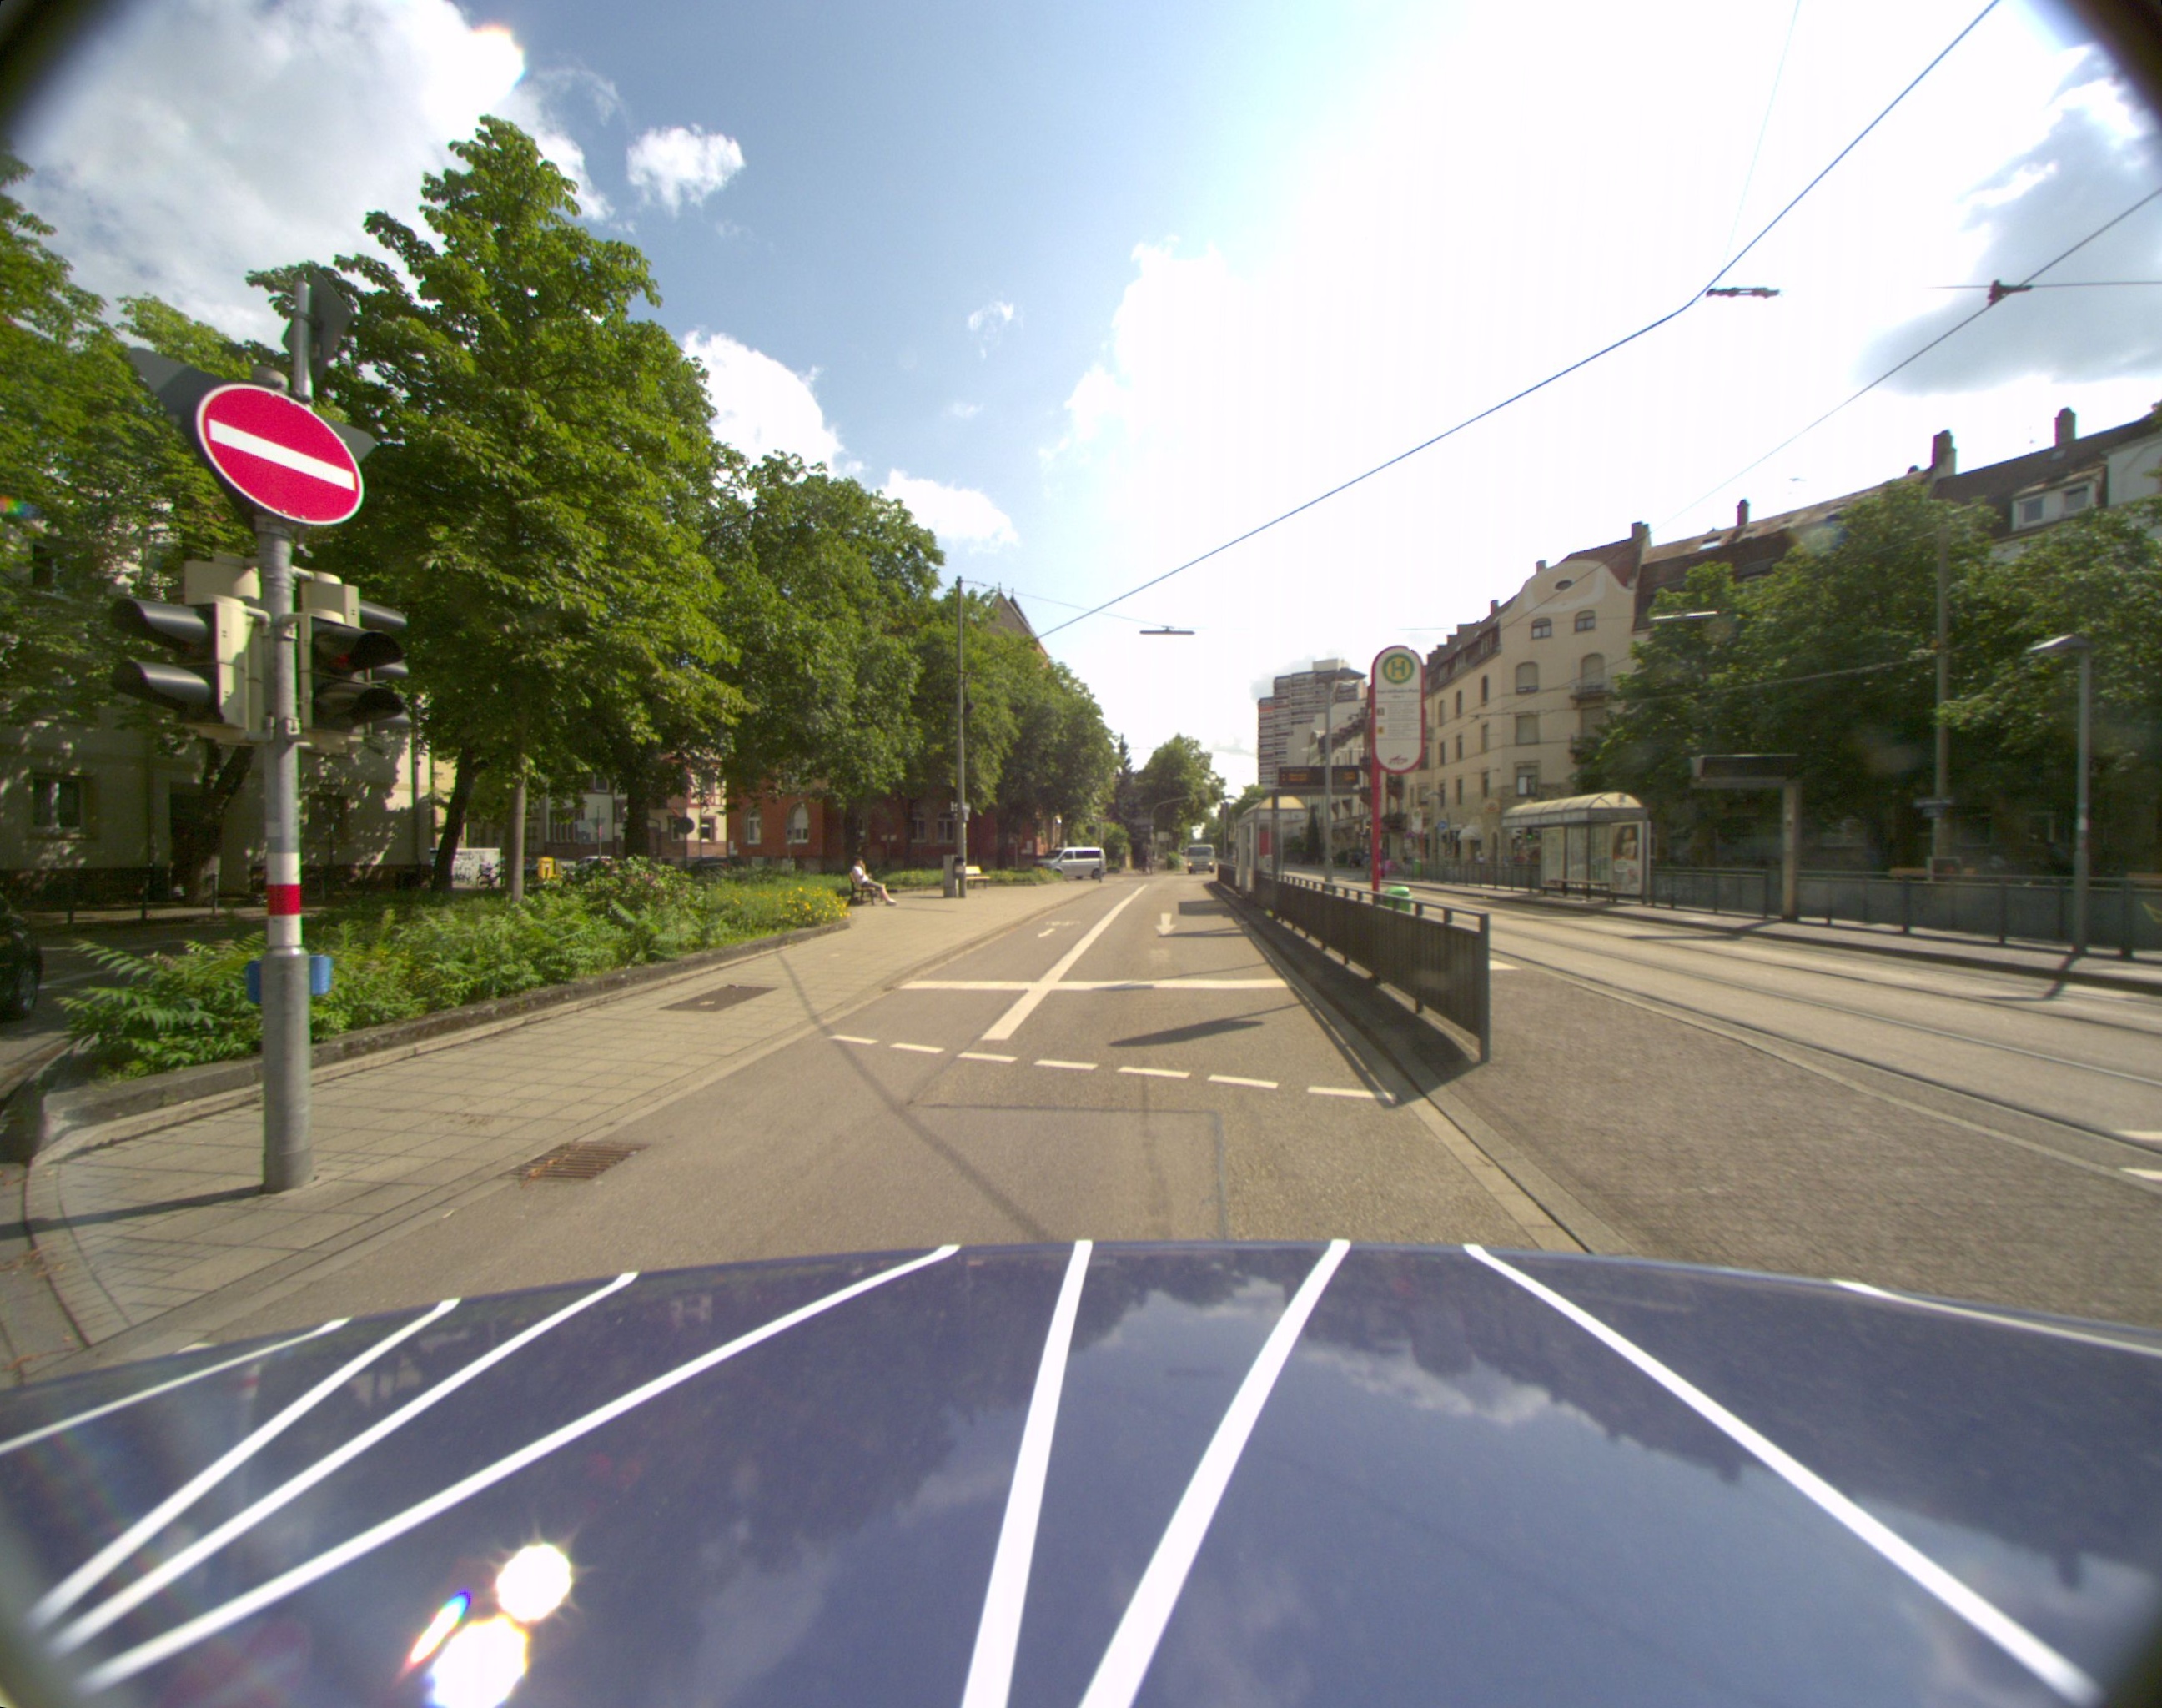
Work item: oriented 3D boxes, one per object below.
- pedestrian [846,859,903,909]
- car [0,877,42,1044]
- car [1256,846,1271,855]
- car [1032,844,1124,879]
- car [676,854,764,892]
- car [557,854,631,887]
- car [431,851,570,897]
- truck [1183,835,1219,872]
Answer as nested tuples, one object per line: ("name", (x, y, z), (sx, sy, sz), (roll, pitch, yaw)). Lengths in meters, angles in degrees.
("pedestrian", (-5.263, 0.755, 19.454), (1.159, 1.195, 0.907), (3, 1, -1))
("car", (-9.703, 0.958, 5.576), (1.633, 1.482, 3.720), (1, -1, -41))
("car", (28.433, -0.538, 118.443), (1.840, 1.482, 3.894), (0, 1, 7))
("car", (-0.140, 0.422, 46.702), (5.298, 2.002, 2.277), (0, 1, -36))
("car", (-22.834, 1.161, 48.001), (5.220, 2.256, 2.288), (0, 1, 27))
("car", (-35.079, 1.108, 54.693), (5.219, 2.256, 2.288), (0, 1, 30))
("car", (-22.116, 0.750, 29.044), (3.996, 1.543, 1.651), (-2, 1, 2))
("truck", (9.564, -0.053, 60.191), (2.529, 2.722, 6.520), (0, 0, 11))
